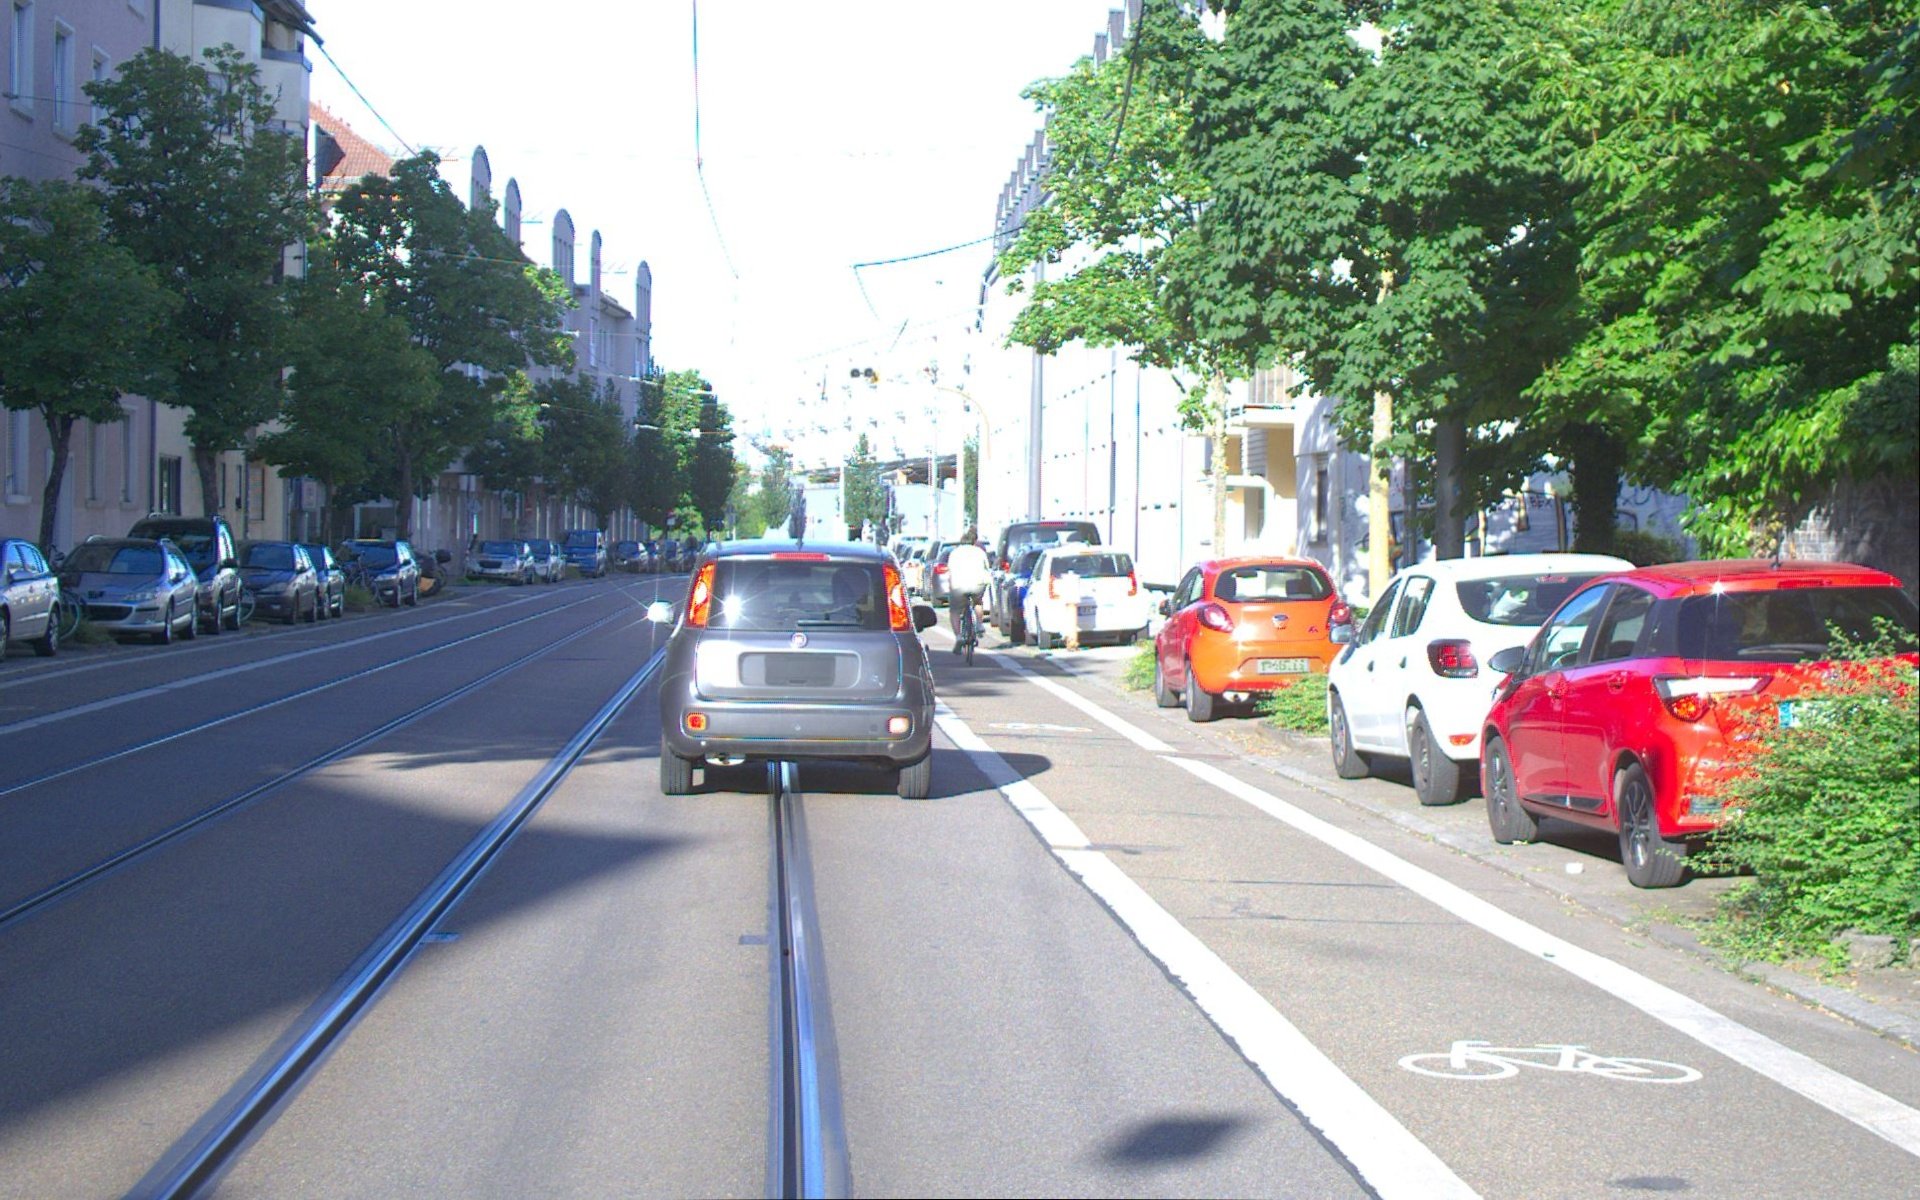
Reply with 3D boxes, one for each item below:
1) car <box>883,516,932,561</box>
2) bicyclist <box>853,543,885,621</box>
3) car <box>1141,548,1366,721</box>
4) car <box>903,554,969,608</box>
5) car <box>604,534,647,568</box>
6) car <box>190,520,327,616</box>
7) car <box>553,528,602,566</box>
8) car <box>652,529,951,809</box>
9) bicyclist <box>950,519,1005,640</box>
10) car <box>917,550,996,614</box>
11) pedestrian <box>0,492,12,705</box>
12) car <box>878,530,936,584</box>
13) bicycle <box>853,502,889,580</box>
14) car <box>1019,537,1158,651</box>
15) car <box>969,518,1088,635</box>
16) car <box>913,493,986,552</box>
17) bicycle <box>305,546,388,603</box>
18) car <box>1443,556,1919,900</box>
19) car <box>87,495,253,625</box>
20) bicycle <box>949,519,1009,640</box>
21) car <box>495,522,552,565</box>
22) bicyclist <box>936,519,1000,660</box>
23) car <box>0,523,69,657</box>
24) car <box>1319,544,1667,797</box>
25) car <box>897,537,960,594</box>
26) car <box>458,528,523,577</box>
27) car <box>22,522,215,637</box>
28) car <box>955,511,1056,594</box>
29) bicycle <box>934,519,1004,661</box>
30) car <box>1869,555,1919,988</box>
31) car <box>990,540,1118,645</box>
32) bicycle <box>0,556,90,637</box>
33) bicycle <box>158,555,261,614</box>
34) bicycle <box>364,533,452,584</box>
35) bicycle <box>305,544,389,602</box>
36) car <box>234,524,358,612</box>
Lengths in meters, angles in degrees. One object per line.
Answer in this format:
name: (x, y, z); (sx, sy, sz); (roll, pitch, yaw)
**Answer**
car: (-1.953, -2.270, 127.021); (1.582, 1.593, 3.377); (2, 1, -4)
bicyclist: (-2.395, -0.472, 90.419); (0.715, 2.007, 0.832); (2, 1, -4)
car: (2.730, 0.286, 32.621); (1.635, 1.503, 3.397); (-1, 1, -3)
car: (-0.692, -0.536, 95.705); (1.582, 1.400, 3.377); (2, 1, -4)
car: (-15.223, -2.247, 156.670); (1.707, 1.491, 3.722); (2, 1, -2)
car: (-12.626, -0.593, 62.059); (1.808, 1.614, 4.065); (2, 1, -3)
car: (-15.657, -2.174, 140.865); (1.707, 1.491, 3.722); (2, 1, -2)
car: (-0.993, 0.351, 21.679); (1.650, 1.536, 4.235); (2, 1, -3)
bicyclist: (0.260, -0.302, 50.943); (0.699, 1.753, 0.758); (2, 1, -4)
car: (-0.099, -0.435, 81.139); (1.583, 1.400, 3.377); (-2, 1, -4)
pedestrian: (-8.449, -0.019, 28.838); (0.849, 1.770, 0.735); (-1, 2, -23)
car: (-1.672, -1.365, 107.895); (1.582, 1.593, 3.377); (2, 1, -4)
bicycle: (-2.344, -1.557, 90.324); (0.741, 2.007, 2.812); (2, 1, -4)
car: (1.864, -0.113, 50.929); (1.655, 1.566, 3.500); (2, 1, -4)
car: (1.169, -0.440, 60.888); (1.655, 1.937, 4.665); (2, 1, -4)
car: (-0.287, -1.952, 86.836); (1.582, 1.400, 3.377); (2, 1, -4)
bicycle: (-13.398, -0.559, 75.119); (1.728, 1.192, 0.373); (2, 1, -6)
car: (3.768, 0.549, 17.537); (1.688, 1.525, 4.001); (-1, 1, -6)
car: (-12.531, -0.652, 54.747); (1.808, 1.937, 4.334); (2, 1, -3)
bicycle: (0.274, -0.318, 50.917); (0.675, 1.741, 2.158); (2, 1, -4)
car: (-16.083, -2.072, 126.725); (1.707, 1.491, 3.722); (2, 1, -2)
bicyclist: (0.101, -0.139, 43.783); (0.699, 1.753, 0.758); (2, 1, -4)
car: (-11.824, -0.169, 40.367); (1.808, 1.503, 4.192); (2, 1, -3)
car: (3.436, 0.394, 22.812); (1.689, 1.525, 4.000); (0, 1, 0)
car: (-0.936, -1.016, 100.250); (1.582, 1.593, 3.377); (2, 1, -4)
car: (-15.328, -1.556, 112.325); (1.707, 1.491, 3.722); (2, 1, -2)
car: (-11.969, -0.320, 49.158); (1.808, 1.503, 4.681); (2, 1, -3)
car: (0.844, -0.919, 65.998); (1.655, 1.495, 3.130); (2, 1, -4)
bicycle: (0.102, -0.140, 43.757); (0.675, 1.741, 2.158); (2, 1, -4)
car: (4.224, 0.622, 10.782); (1.689, 1.525, 4.000); (0, 1, 0)
car: (1.474, -0.148, 55.195); (1.655, 1.566, 3.877); (2, 1, -4)
bicycle: (-12.170, -0.053, 44.501); (1.666, 0.998, 0.476); (2, 1, 0)
bicycle: (-12.777, -0.270, 58.547); (1.631, 0.934, 0.517); (2, 1, -7)
bicycle: (-14.774, -1.119, 92.049); (2.275, 1.284, 0.758); (2, 1, -8)
bicycle: (-13.324, -0.591, 74.727); (1.728, 1.192, 0.373); (2, 1, -6)
car: (-12.945, -0.648, 67.206); (1.808, 1.614, 4.065); (2, 1, -3)
